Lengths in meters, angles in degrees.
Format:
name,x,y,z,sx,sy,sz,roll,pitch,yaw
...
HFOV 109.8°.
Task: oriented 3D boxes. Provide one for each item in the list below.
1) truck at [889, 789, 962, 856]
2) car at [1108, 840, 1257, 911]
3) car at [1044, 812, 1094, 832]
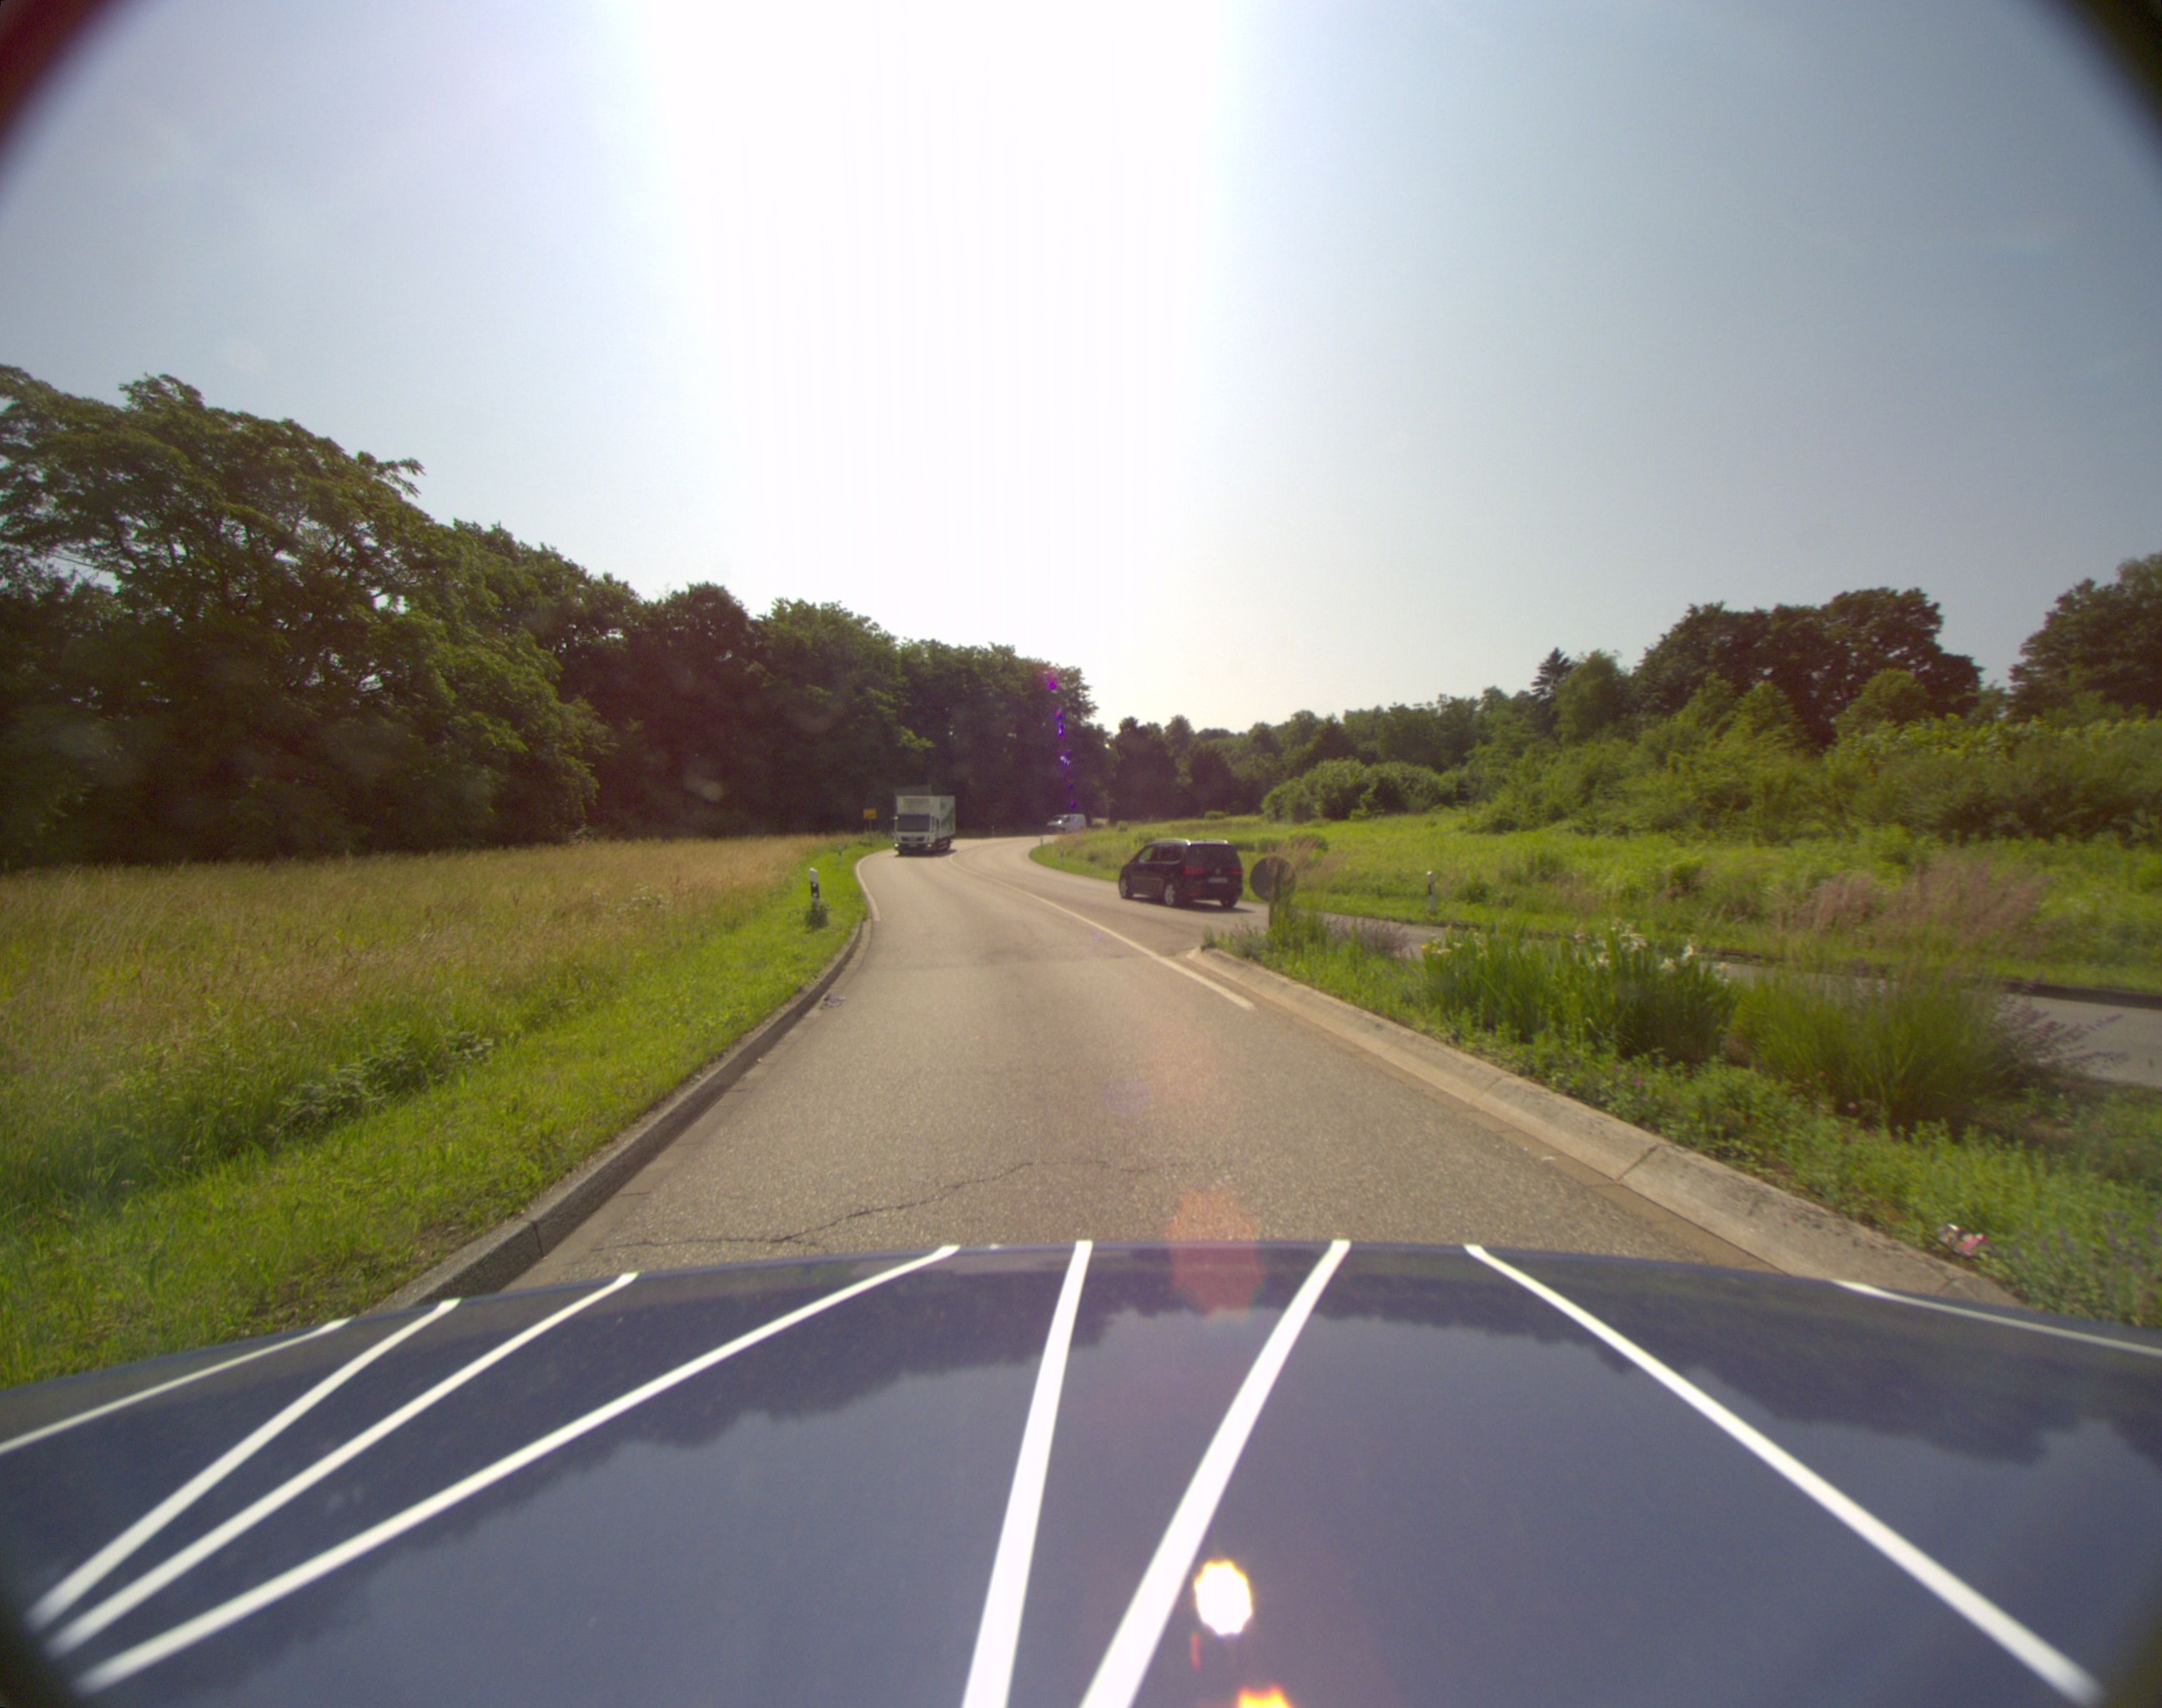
name,x,y,z,sx,sy,sz,roll,pitch,yaw
truck,-9.727,-1.935,48.698,2.898,3.807,9.019,-2,1,-2
car,2.442,0.488,19.494,1.915,1.586,4.365,0,0,-21
car,-1.163,-3.318,78.288,1.994,2.002,5.613,-1,2,39
